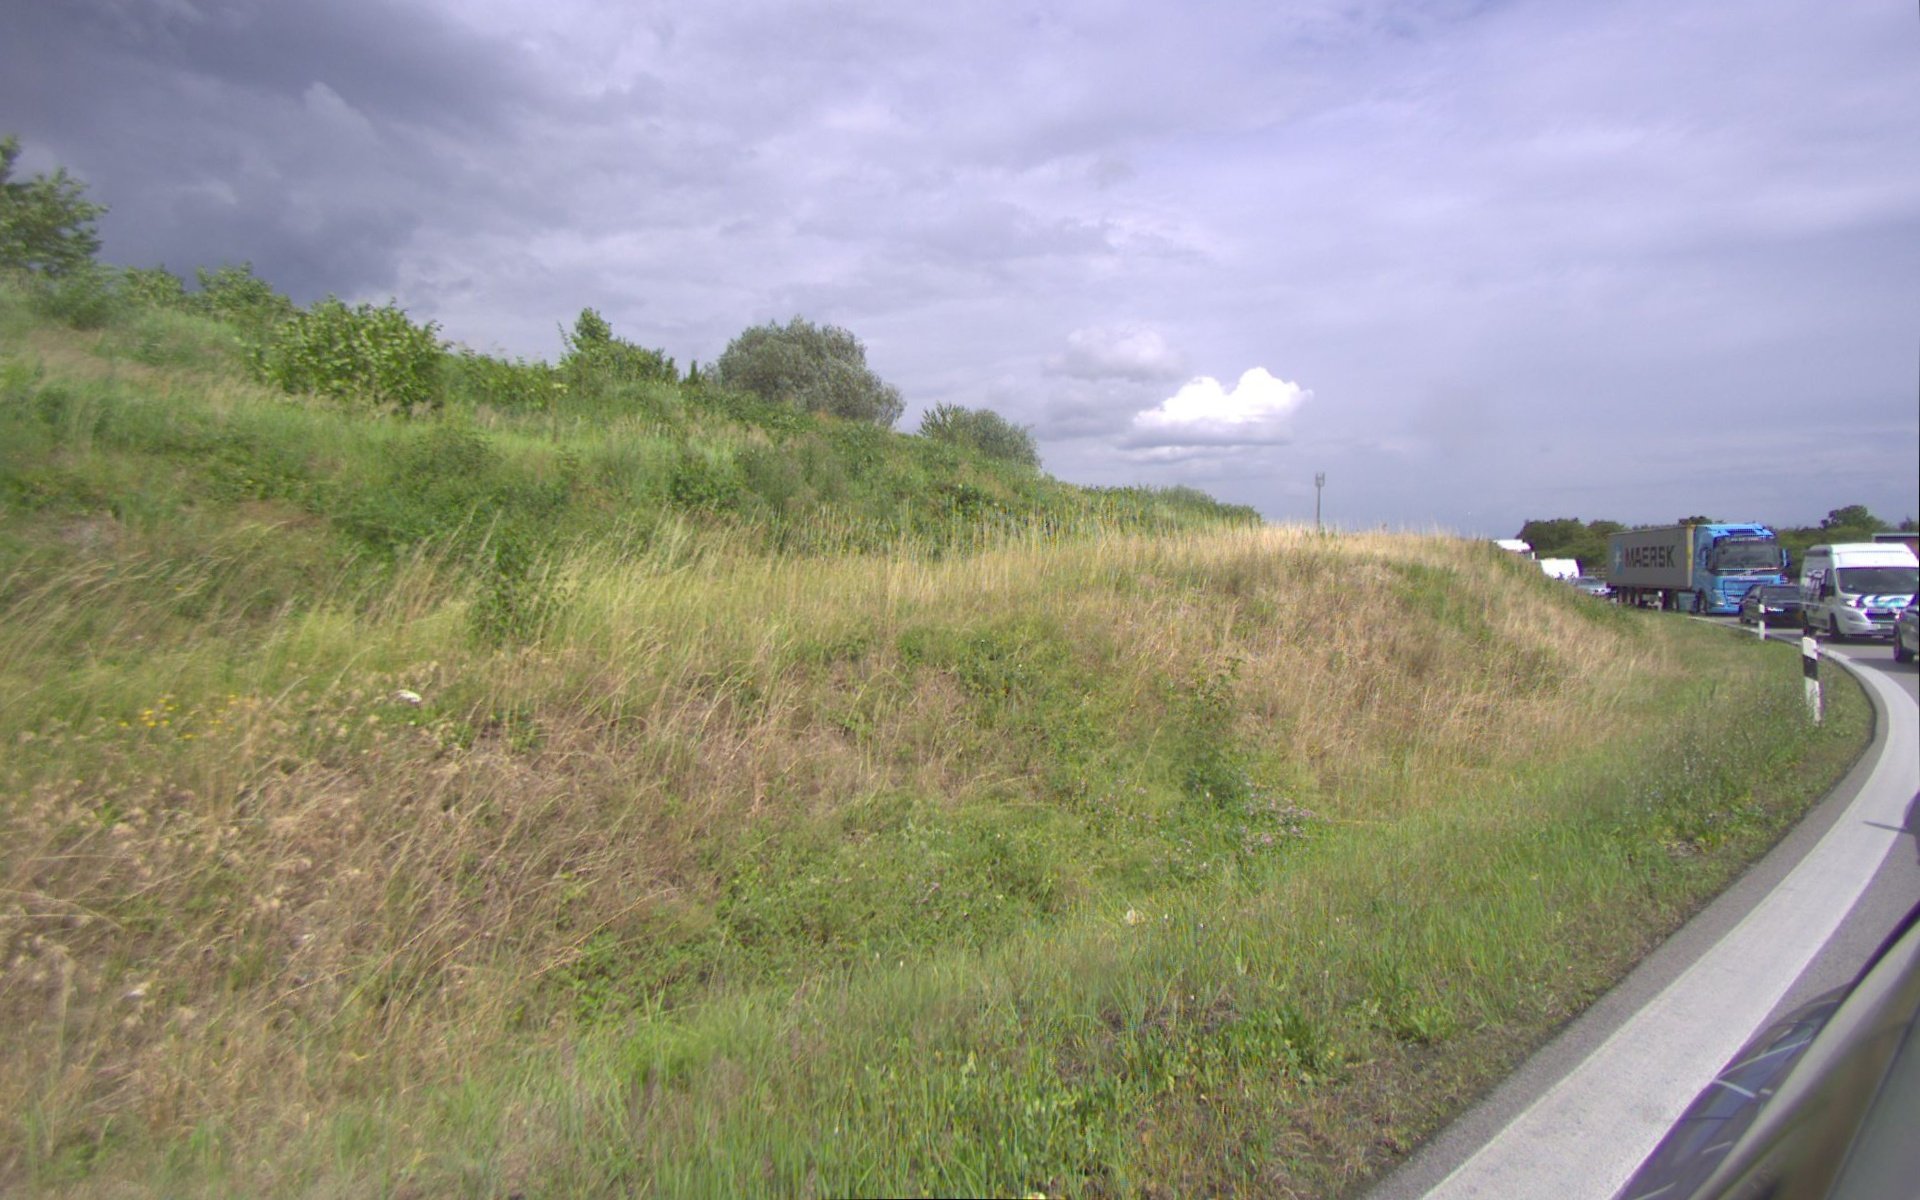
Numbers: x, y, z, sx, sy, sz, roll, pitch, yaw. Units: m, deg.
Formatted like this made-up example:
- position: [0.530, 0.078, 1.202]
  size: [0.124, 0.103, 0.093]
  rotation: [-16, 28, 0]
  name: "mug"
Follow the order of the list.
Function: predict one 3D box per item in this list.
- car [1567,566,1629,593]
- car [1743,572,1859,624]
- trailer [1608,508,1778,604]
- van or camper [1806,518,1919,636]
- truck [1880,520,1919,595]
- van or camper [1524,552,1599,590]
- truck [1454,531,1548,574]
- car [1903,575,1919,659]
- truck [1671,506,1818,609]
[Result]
- position: [39.210, -1.284, 62.317]
  size: [1.970, 1.548, 3.987]
  rotation: [0, 3, 13]
  name: "car"
- position: [29.058, -0.125, 35.106]
  size: [1.978, 1.638, 3.970]
  rotation: [1, 2, 23]
  name: "car"
- position: [36.239, -2.031, 50.744]
  size: [3.232, 4.213, 11.950]
  rotation: [-1, 1, 18]
  name: "trailer"
- position: [25.188, -0.616, 27.713]
  size: [2.382, 2.945, 5.653]
  rotation: [0, 1, 33]
  name: "van or camper"
- position: [48.137, -2.029, 47.435]
  size: [2.844, 3.631, 8.928]
  rotation: [-1, 2, 8]
  name: "truck"
- position: [40.514, -2.014, 68.348]
  size: [2.513, 2.237, 5.698]
  rotation: [-1, 4, 11]
  name: "van or camper"
- position: [43.821, -3.768, 82.469]
  size: [3.073, 3.279, 11.138]
  rotation: [0, 2, 8]
  name: "truck"
- position: [19.165, 0.350, 18.823]
  size: [1.833, 1.615, 4.120]
  rotation: [1, 2, 36]
  name: "car"
- position: [34.137, -1.751, 44.361]
  size: [3.140, 4.124, 6.604]
  rotation: [-1, 1, 20]
  name: "truck"
